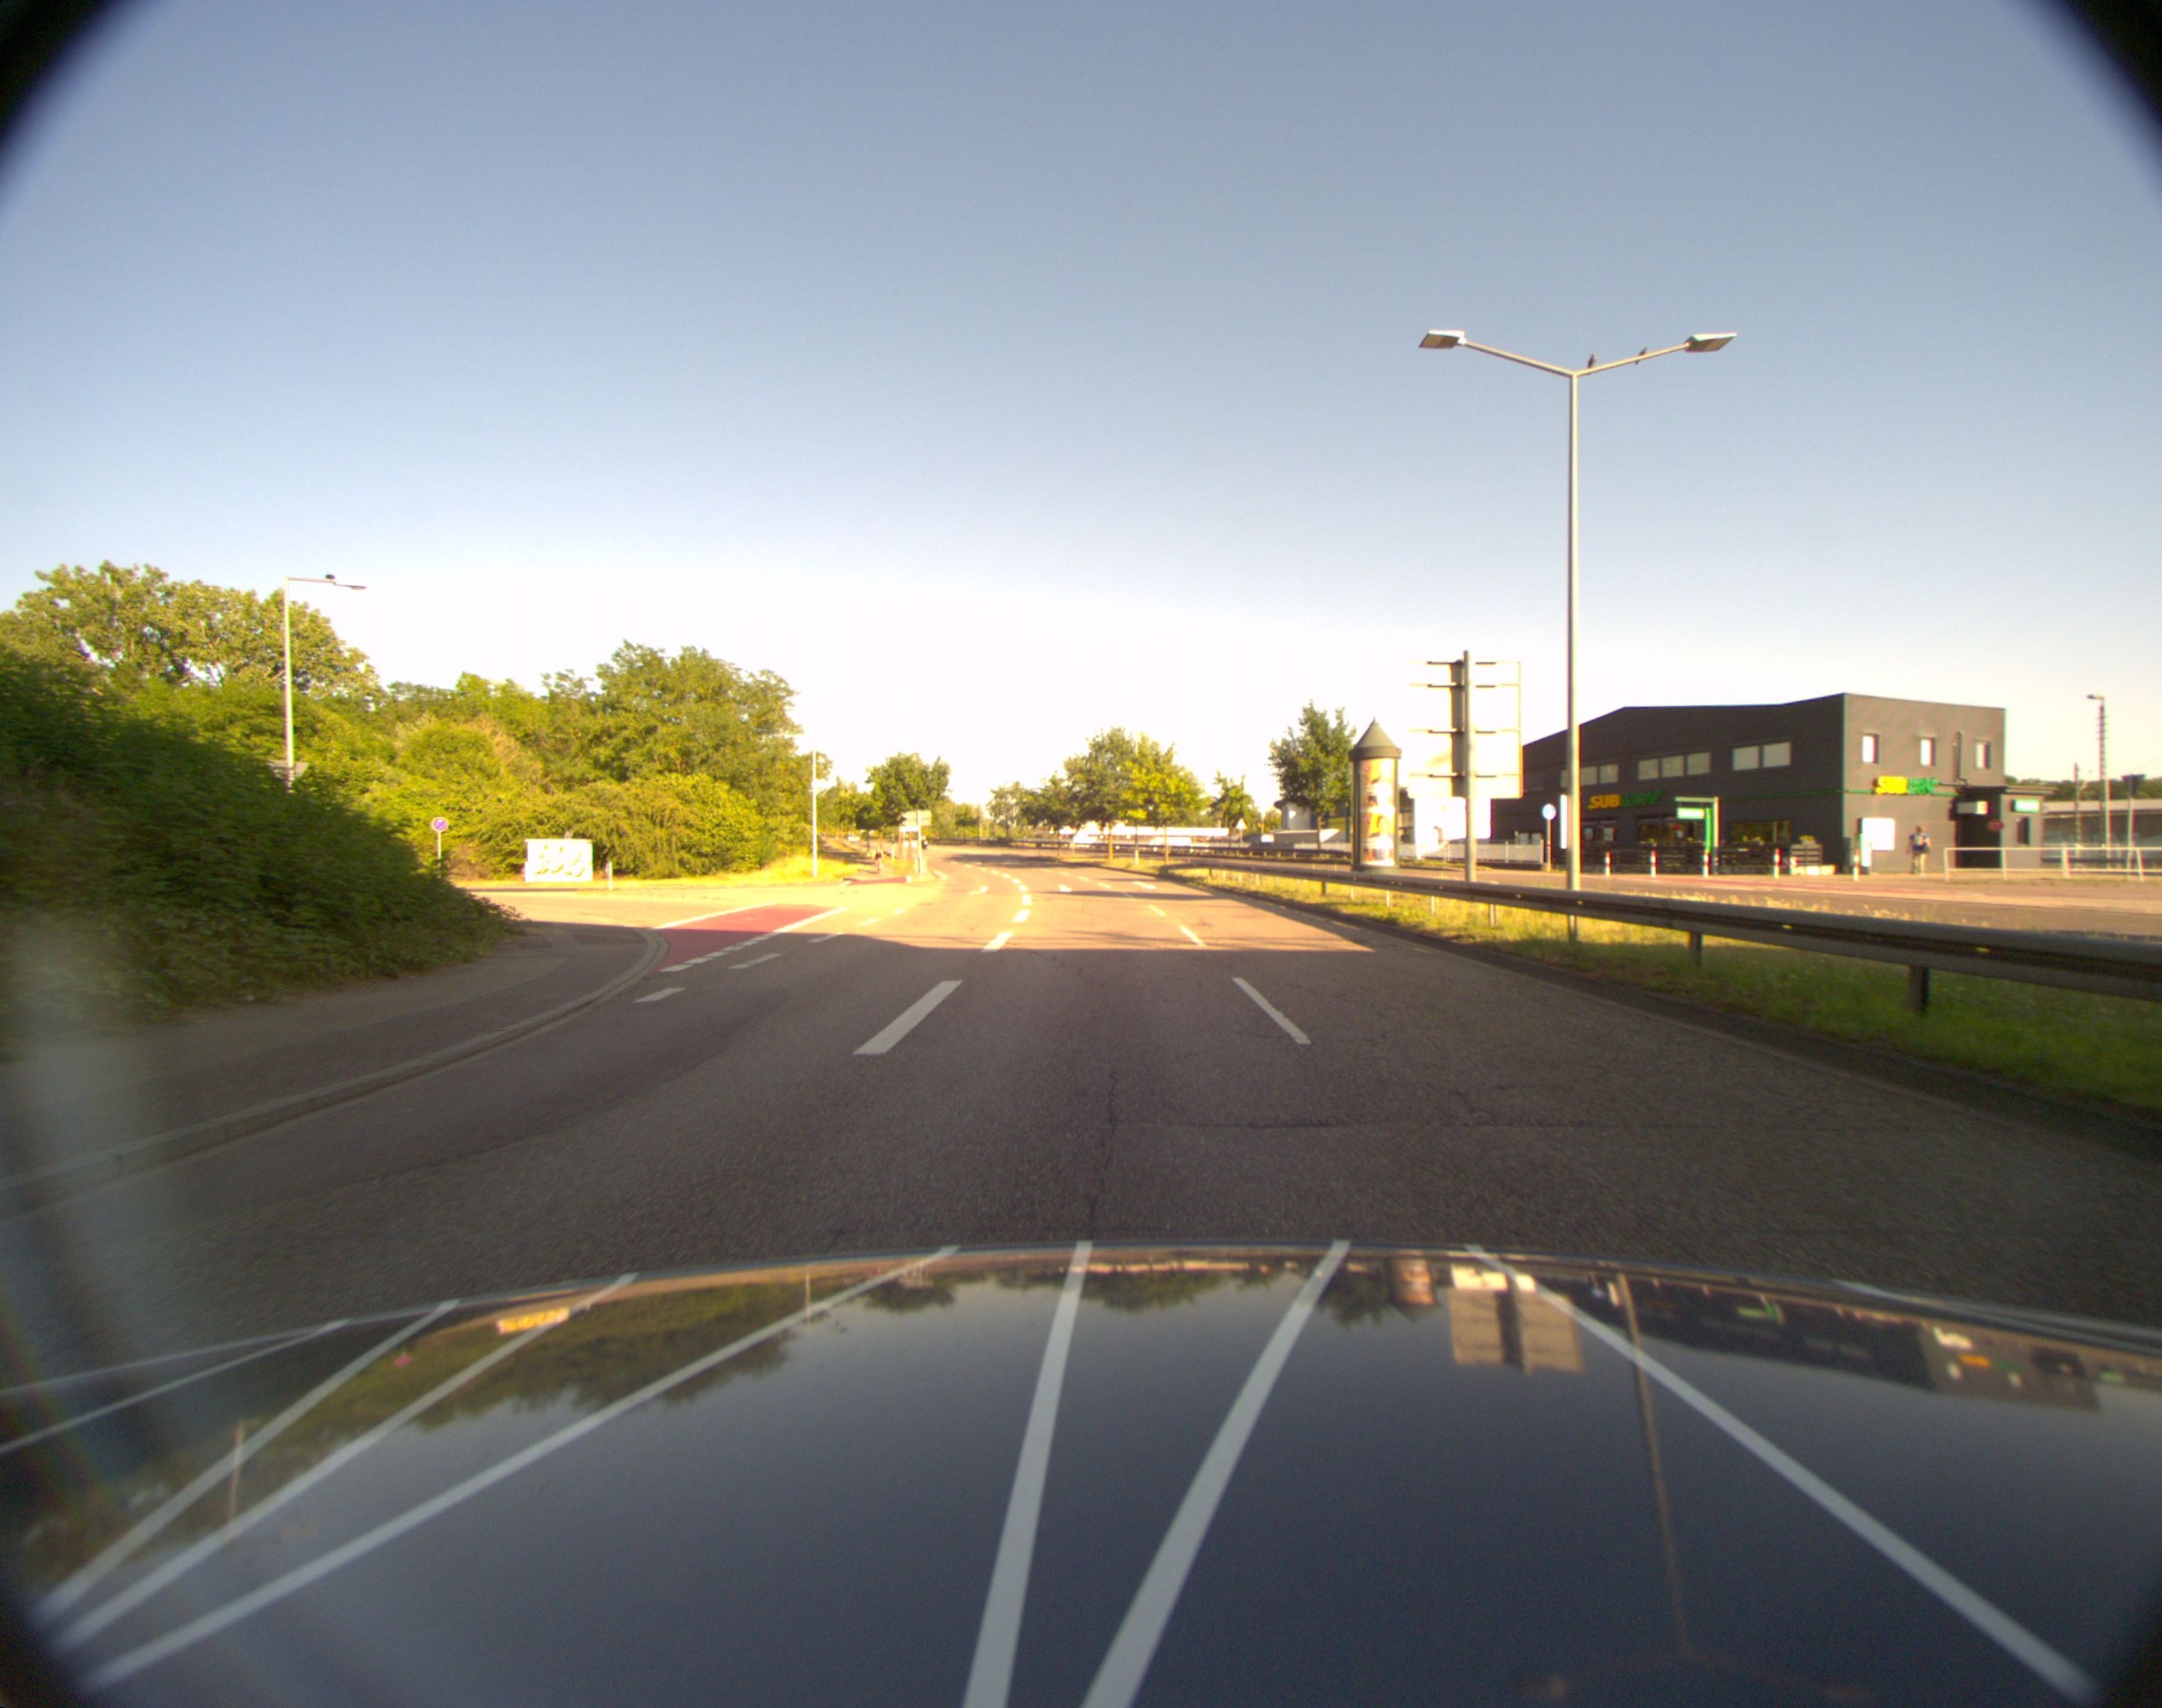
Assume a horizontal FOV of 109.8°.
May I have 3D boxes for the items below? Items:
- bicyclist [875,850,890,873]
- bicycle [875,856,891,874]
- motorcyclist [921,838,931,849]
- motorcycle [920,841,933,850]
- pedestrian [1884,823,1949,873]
[{"bbox_3d":[-12.743,0.486,48.775,0.844,1.413,1.112,-3,1,-19],"label":"bicyclist"},{"bbox_3d":[-12.710,0.682,48.718,0.783,1.051,2.492,-3,1,-19],"label":"bicycle"},{"bbox_3d":[-19.466,-1.322,95.409,0.839,1.434,0.879,-2,1,9],"label":"motorcyclist"},{"bbox_3d":[-19.435,-1.104,95.523,0.810,1.040,2.354,-2,1,9],"label":"motorcycle"},{"bbox_3d":[32.173,-0.229,29.282,1.274,1.825,1.085,-2,1,3],"label":"pedestrian"}]
